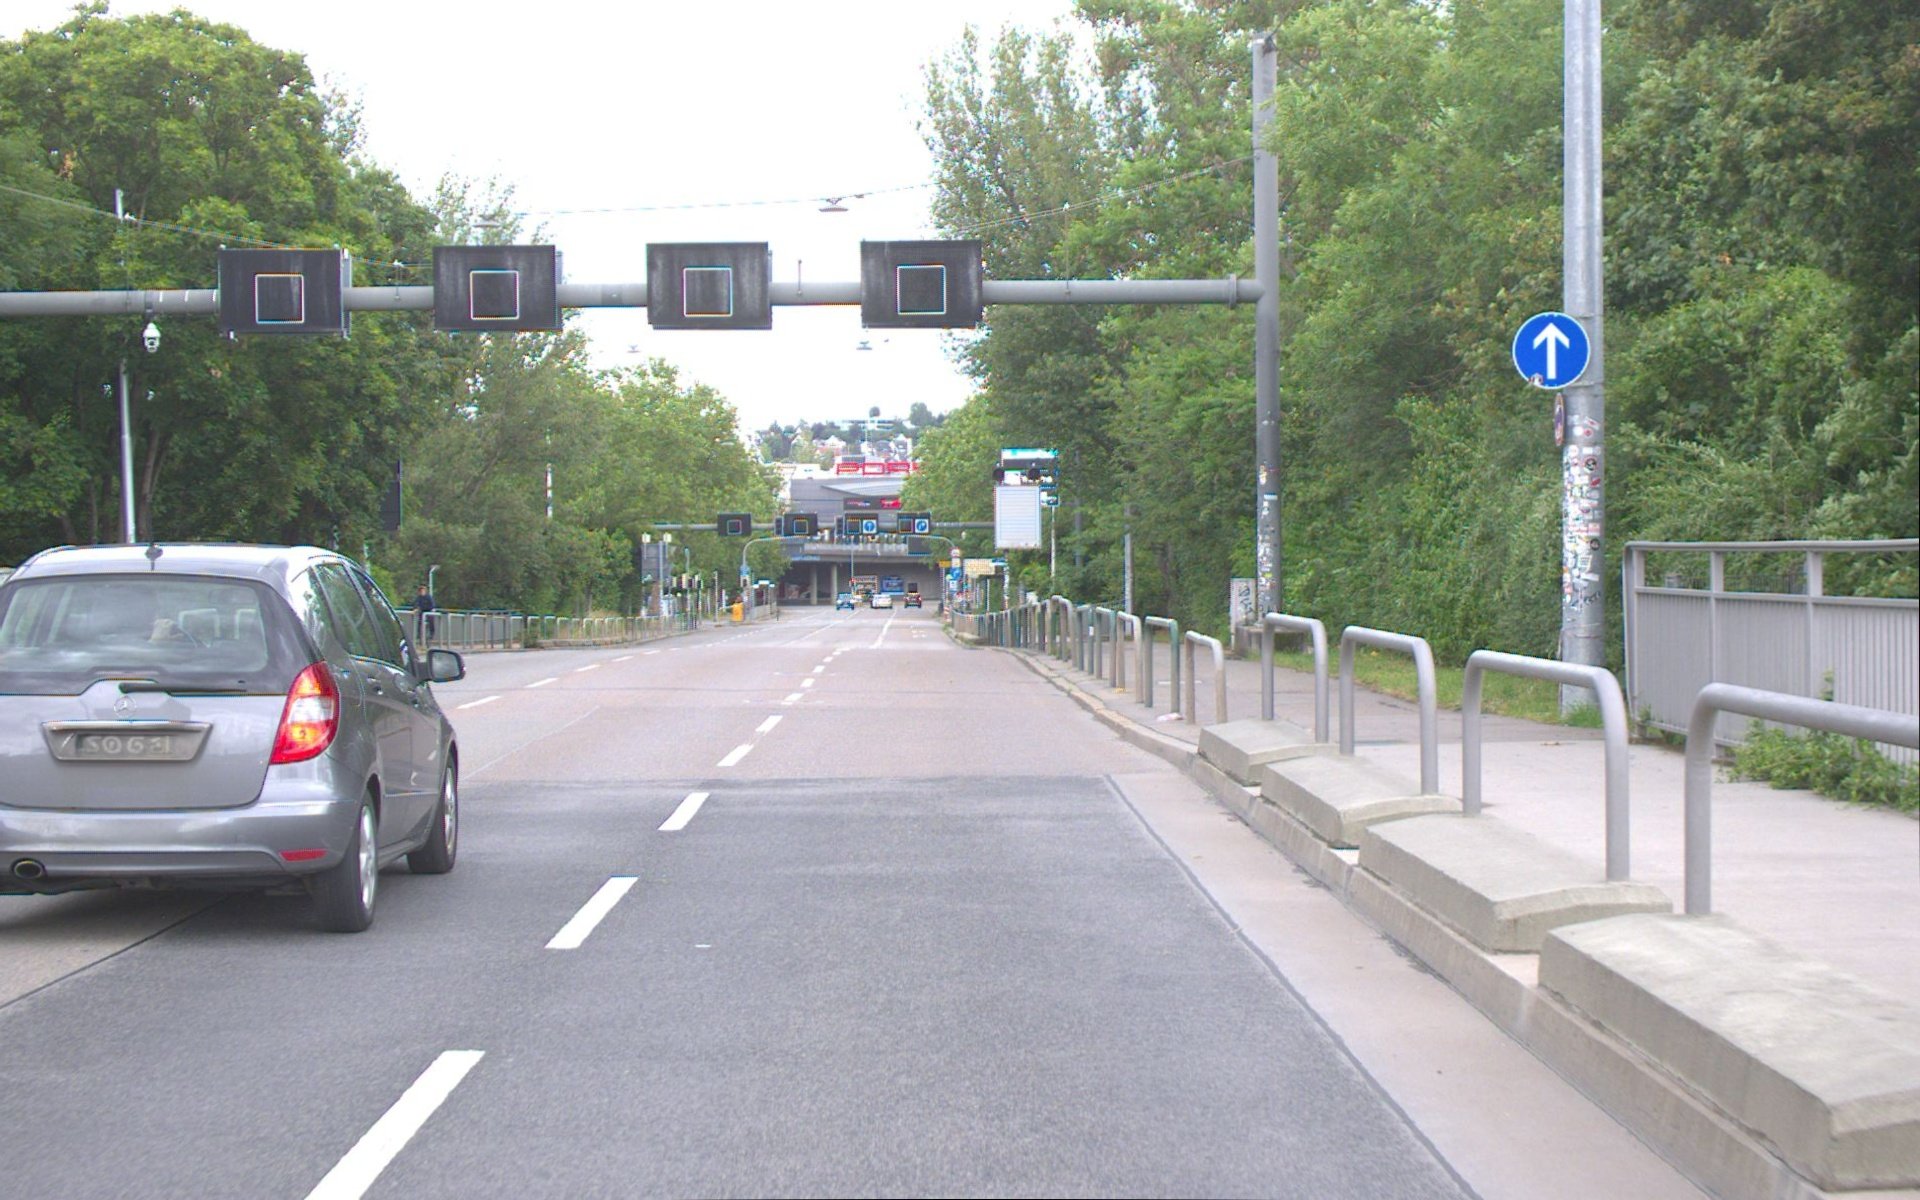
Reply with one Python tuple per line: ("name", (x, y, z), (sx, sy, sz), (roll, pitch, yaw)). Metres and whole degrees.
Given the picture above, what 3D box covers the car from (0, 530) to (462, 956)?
("car", (-3.270, 0.501, 14.868), (1.745, 1.545, 3.872), (0, 2, -1))
